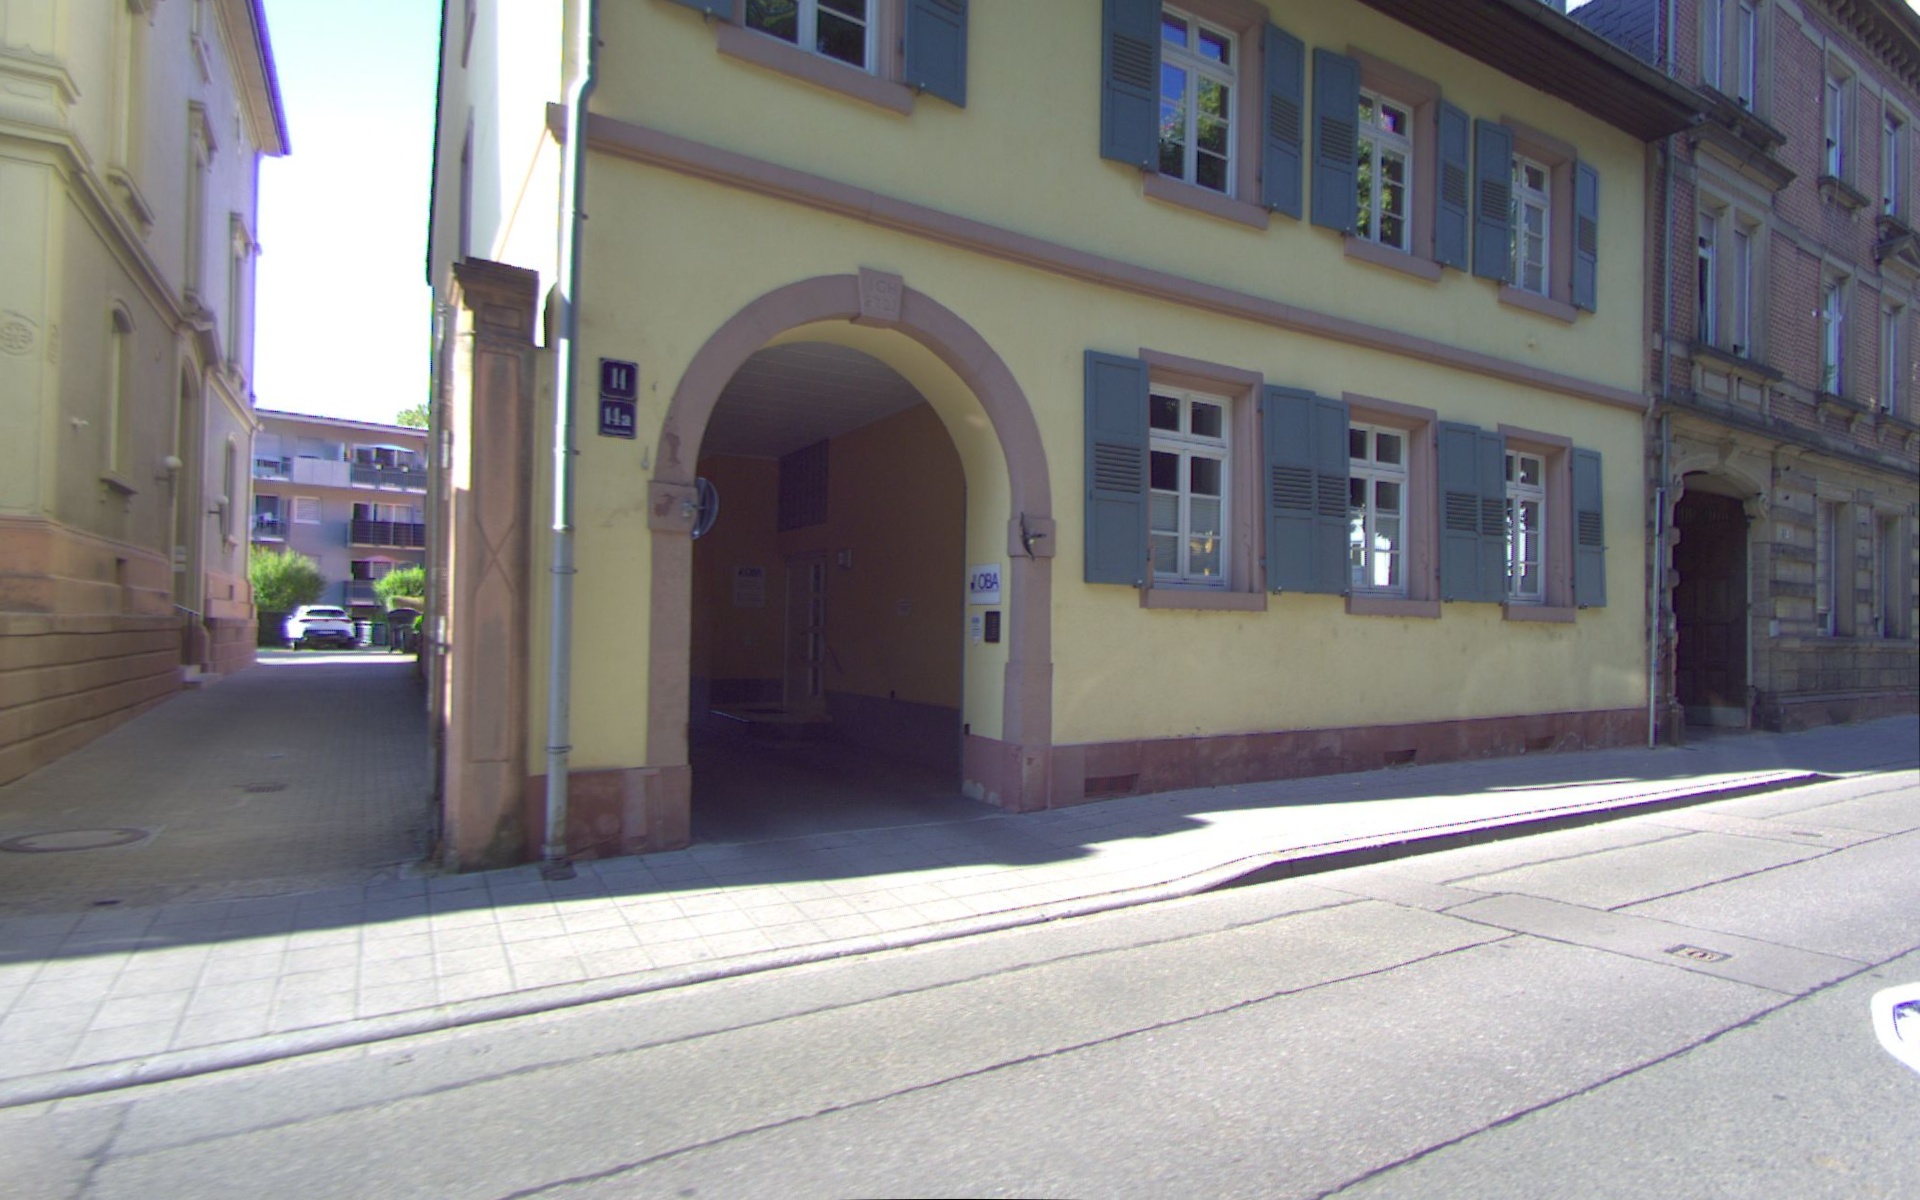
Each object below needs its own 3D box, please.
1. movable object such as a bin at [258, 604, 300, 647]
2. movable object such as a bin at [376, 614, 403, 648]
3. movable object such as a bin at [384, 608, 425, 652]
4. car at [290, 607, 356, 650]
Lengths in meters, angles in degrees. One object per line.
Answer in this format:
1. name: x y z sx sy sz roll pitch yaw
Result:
1. movable object such as a bin: -25.045 0.953 36.964 1.259 1.553 0.827 1 -1 -34
2. movable object such as a bin: -26.554 1.422 46.742 0.999 1.553 0.827 1 -1 -33
3. movable object such as a bin: -18.197 0.989 32.911 1.084 1.412 1.037 1 -2 -34
4. car: -22.042 0.997 34.879 1.800 1.392 3.967 1 -2 -31
